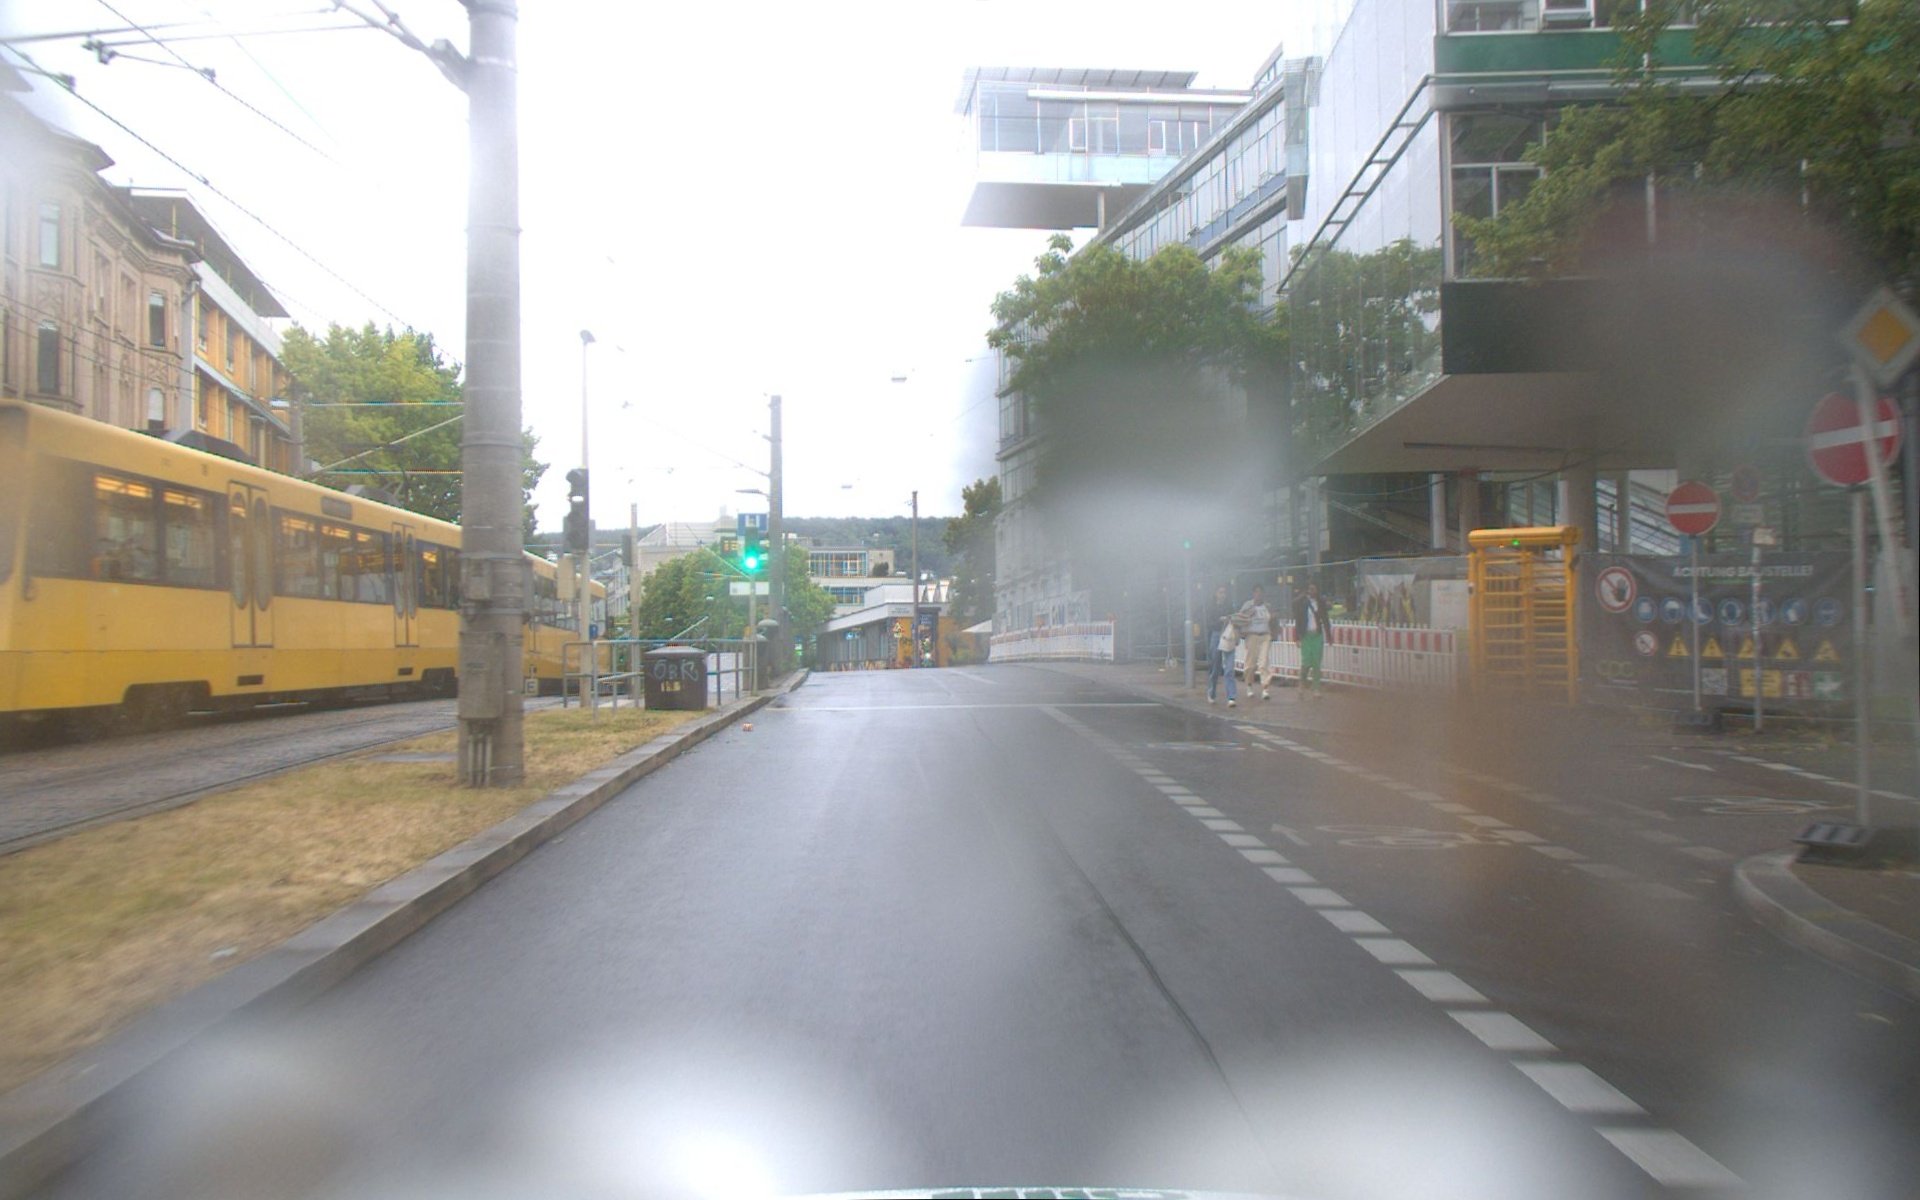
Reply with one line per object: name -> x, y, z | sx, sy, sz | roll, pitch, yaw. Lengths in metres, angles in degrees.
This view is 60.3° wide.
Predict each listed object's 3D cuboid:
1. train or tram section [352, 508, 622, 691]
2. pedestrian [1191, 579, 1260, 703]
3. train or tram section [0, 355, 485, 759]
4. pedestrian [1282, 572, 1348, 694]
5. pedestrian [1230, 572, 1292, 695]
train or tram section -> -11.715, 0.161, 43.687 | 2.691, 3.762, 18.956 | -1, -1, -3
pedestrian -> 3.874, 0.576, 24.196 | 0.722, 1.760, 1.117 | -1, 0, -5
train or tram section -> -10.690, -0.206, 24.751 | 2.691, 3.762, 18.956 | -1, -1, -3
pedestrian -> 5.407, 0.492, 25.240 | 0.686, 1.816, 1.066 | -1, 0, -5
pedestrian -> 4.632, 0.498, 25.499 | 0.686, 1.847, 0.976 | -1, 0, -5
